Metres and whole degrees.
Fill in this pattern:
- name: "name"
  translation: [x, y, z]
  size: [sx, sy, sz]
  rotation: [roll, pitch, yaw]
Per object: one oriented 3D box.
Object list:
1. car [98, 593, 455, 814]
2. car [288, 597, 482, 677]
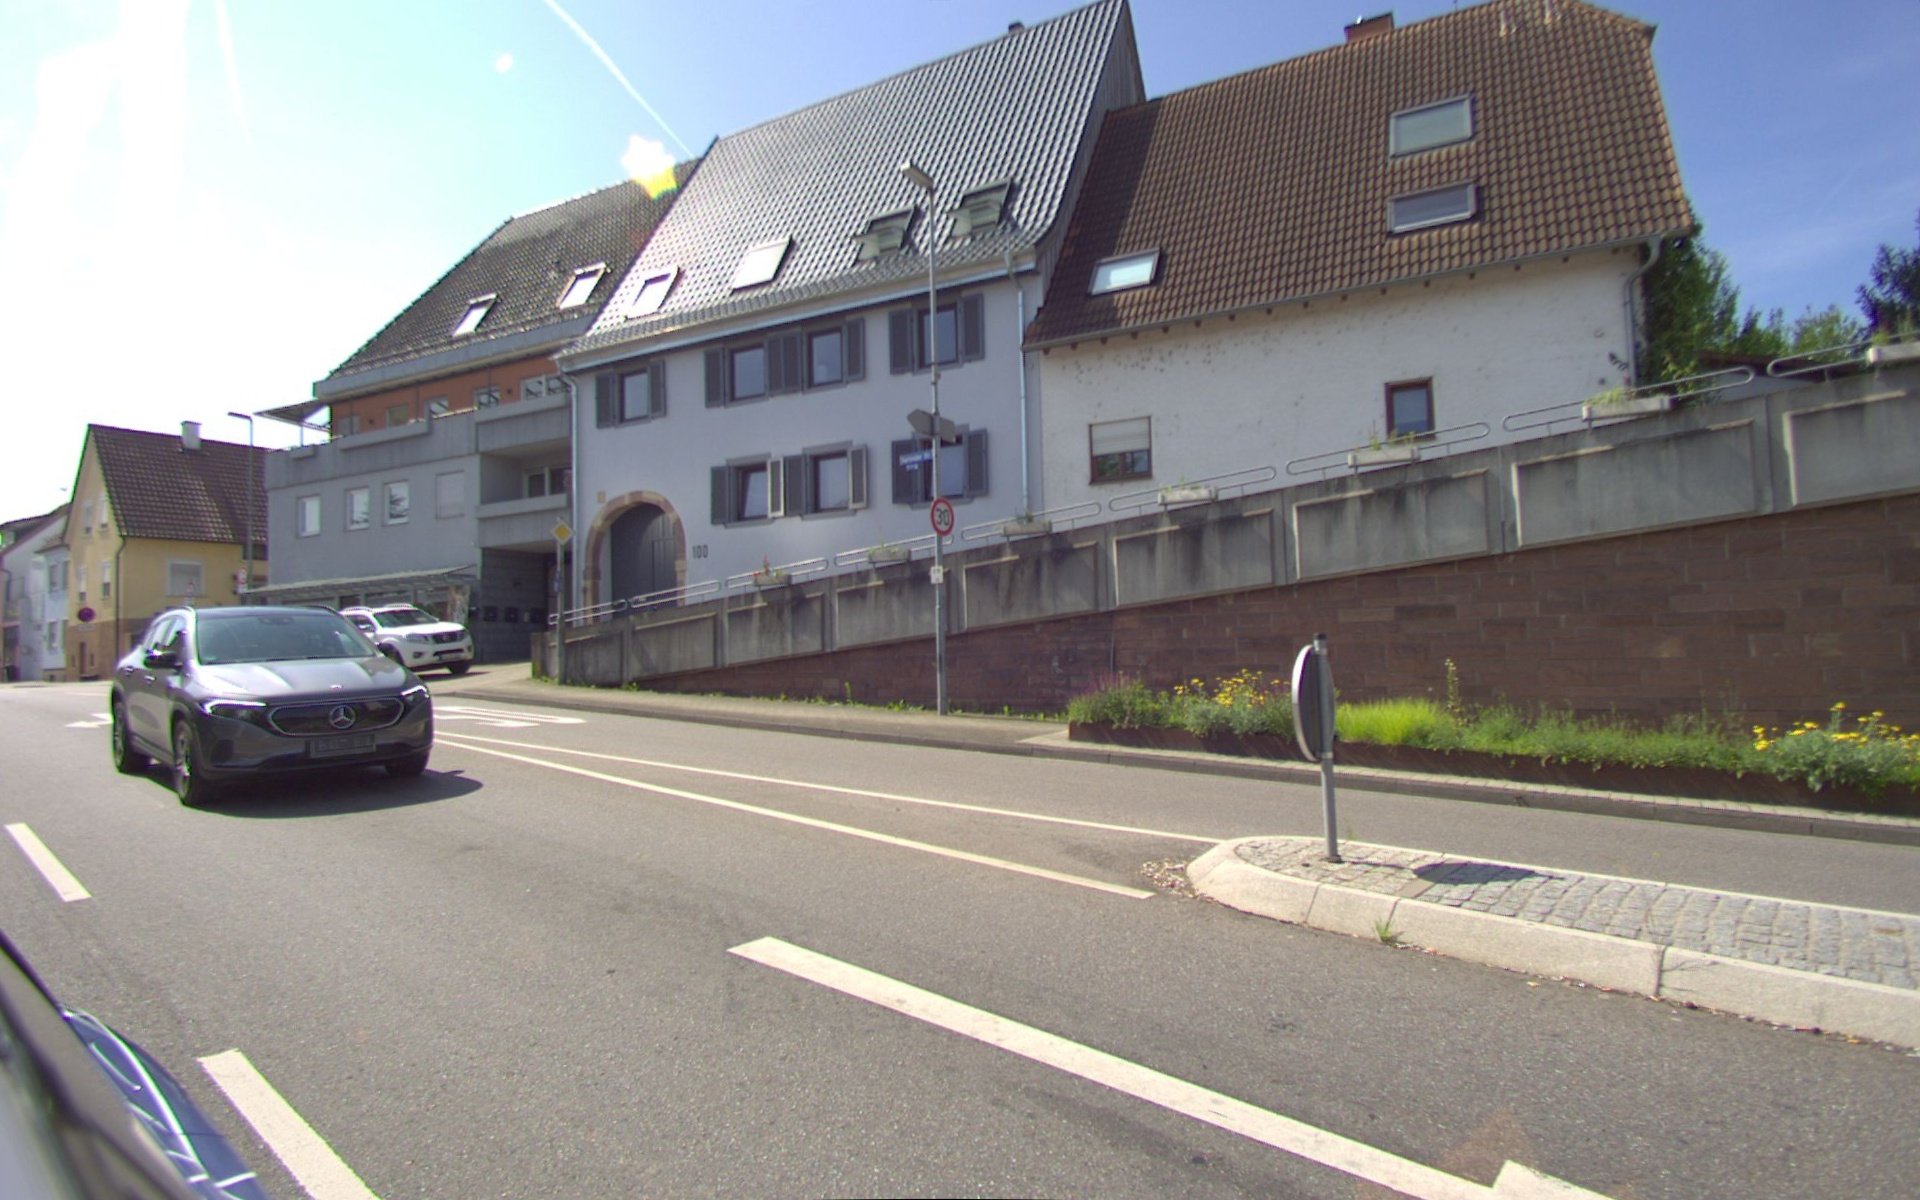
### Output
- name: "car"
  translation: [-6.458, 0.774, 9.357]
  size: [4.288, 1.585, 1.715]
  rotation: [-1, 0, 41]
- name: "car"
  translation: [-14.208, 0.905, 24.922]
  size: [5.265, 1.812, 1.792]
  rotation: [-2, -2, 31]
